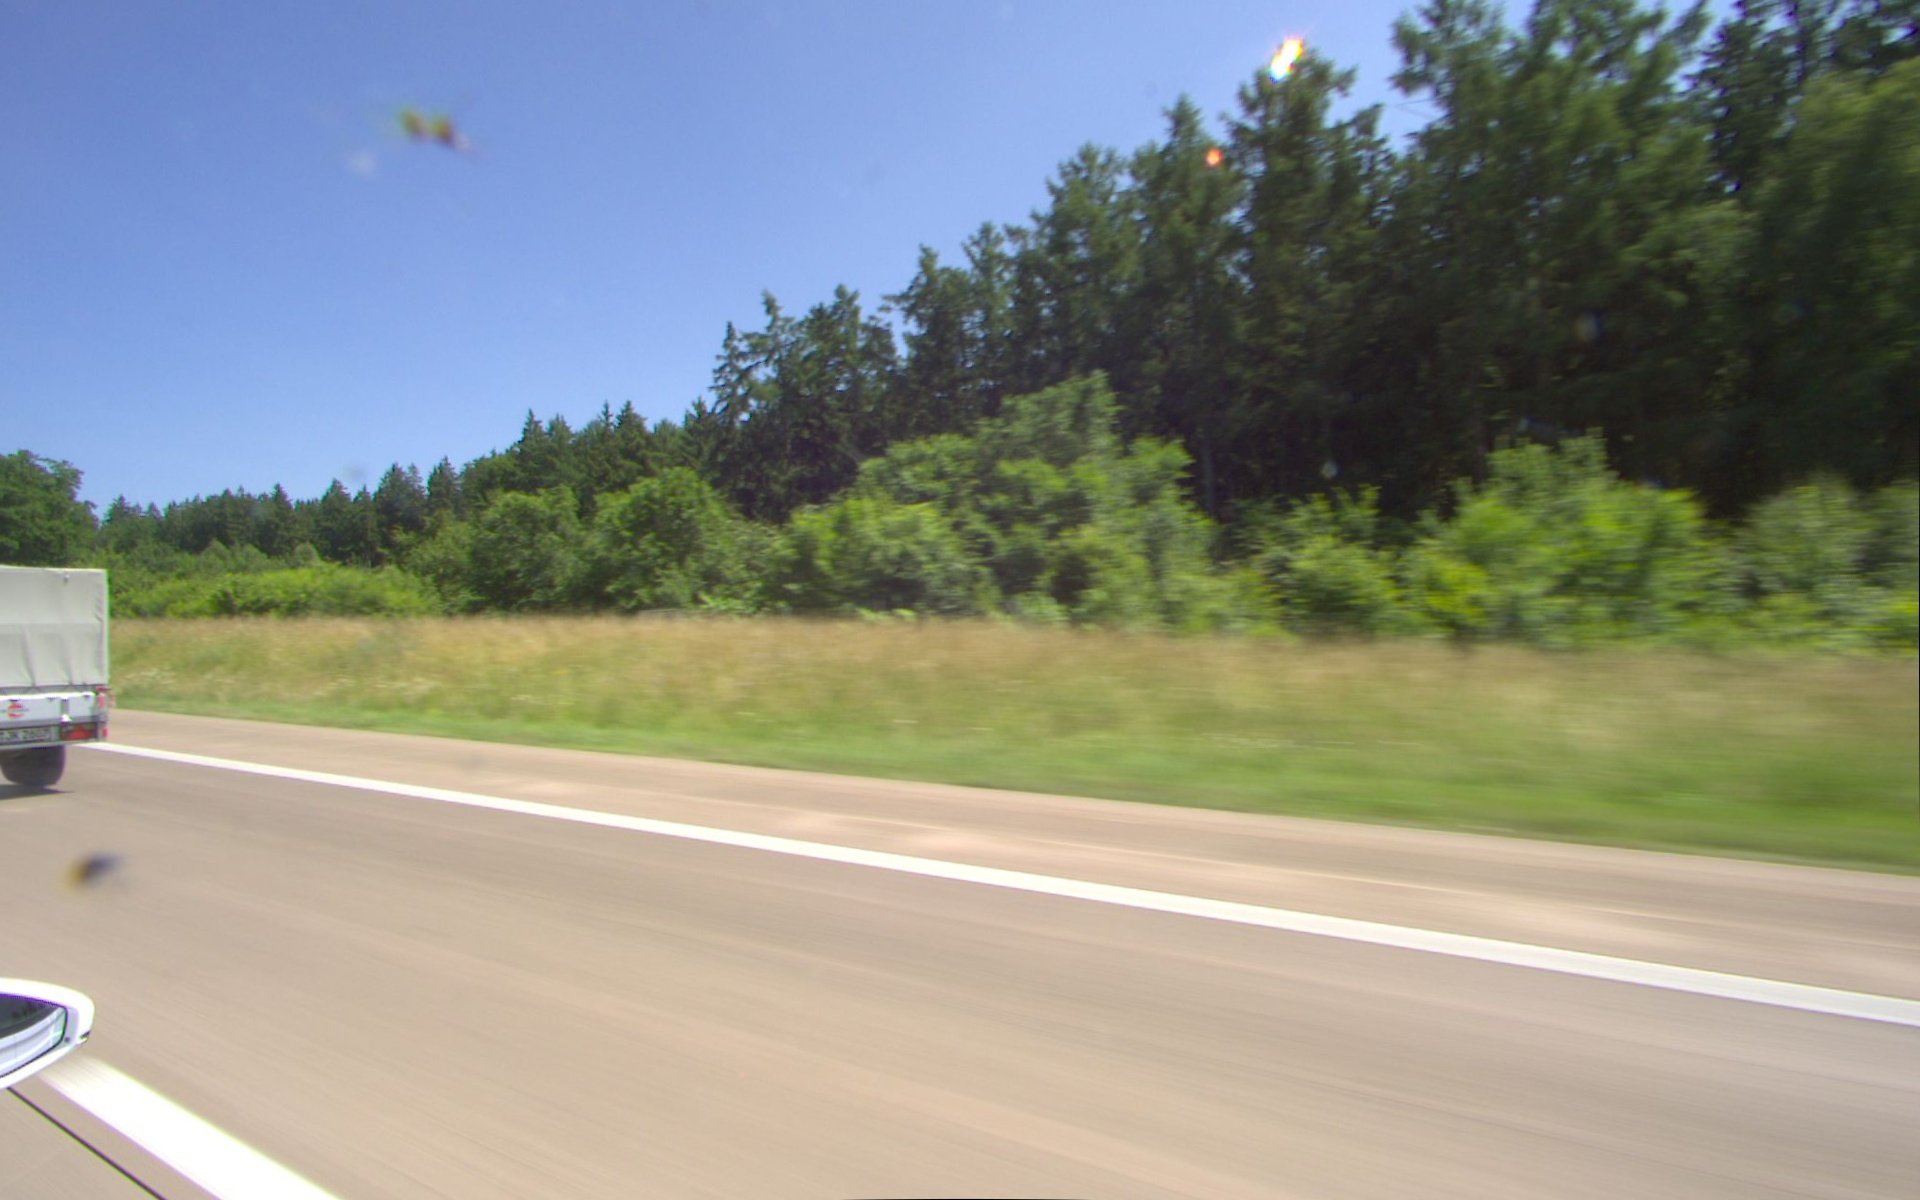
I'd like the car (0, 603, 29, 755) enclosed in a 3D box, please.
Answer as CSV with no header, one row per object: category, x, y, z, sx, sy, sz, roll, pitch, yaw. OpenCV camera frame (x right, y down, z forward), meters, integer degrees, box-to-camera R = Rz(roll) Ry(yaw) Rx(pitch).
car,-13.597,0.937,12.266,5.110,1.750,1.888,-1,-1,31

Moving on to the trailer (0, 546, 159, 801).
trailer,-9.765,0.671,9.923,3.958,2.192,1.654,-1,-1,32
